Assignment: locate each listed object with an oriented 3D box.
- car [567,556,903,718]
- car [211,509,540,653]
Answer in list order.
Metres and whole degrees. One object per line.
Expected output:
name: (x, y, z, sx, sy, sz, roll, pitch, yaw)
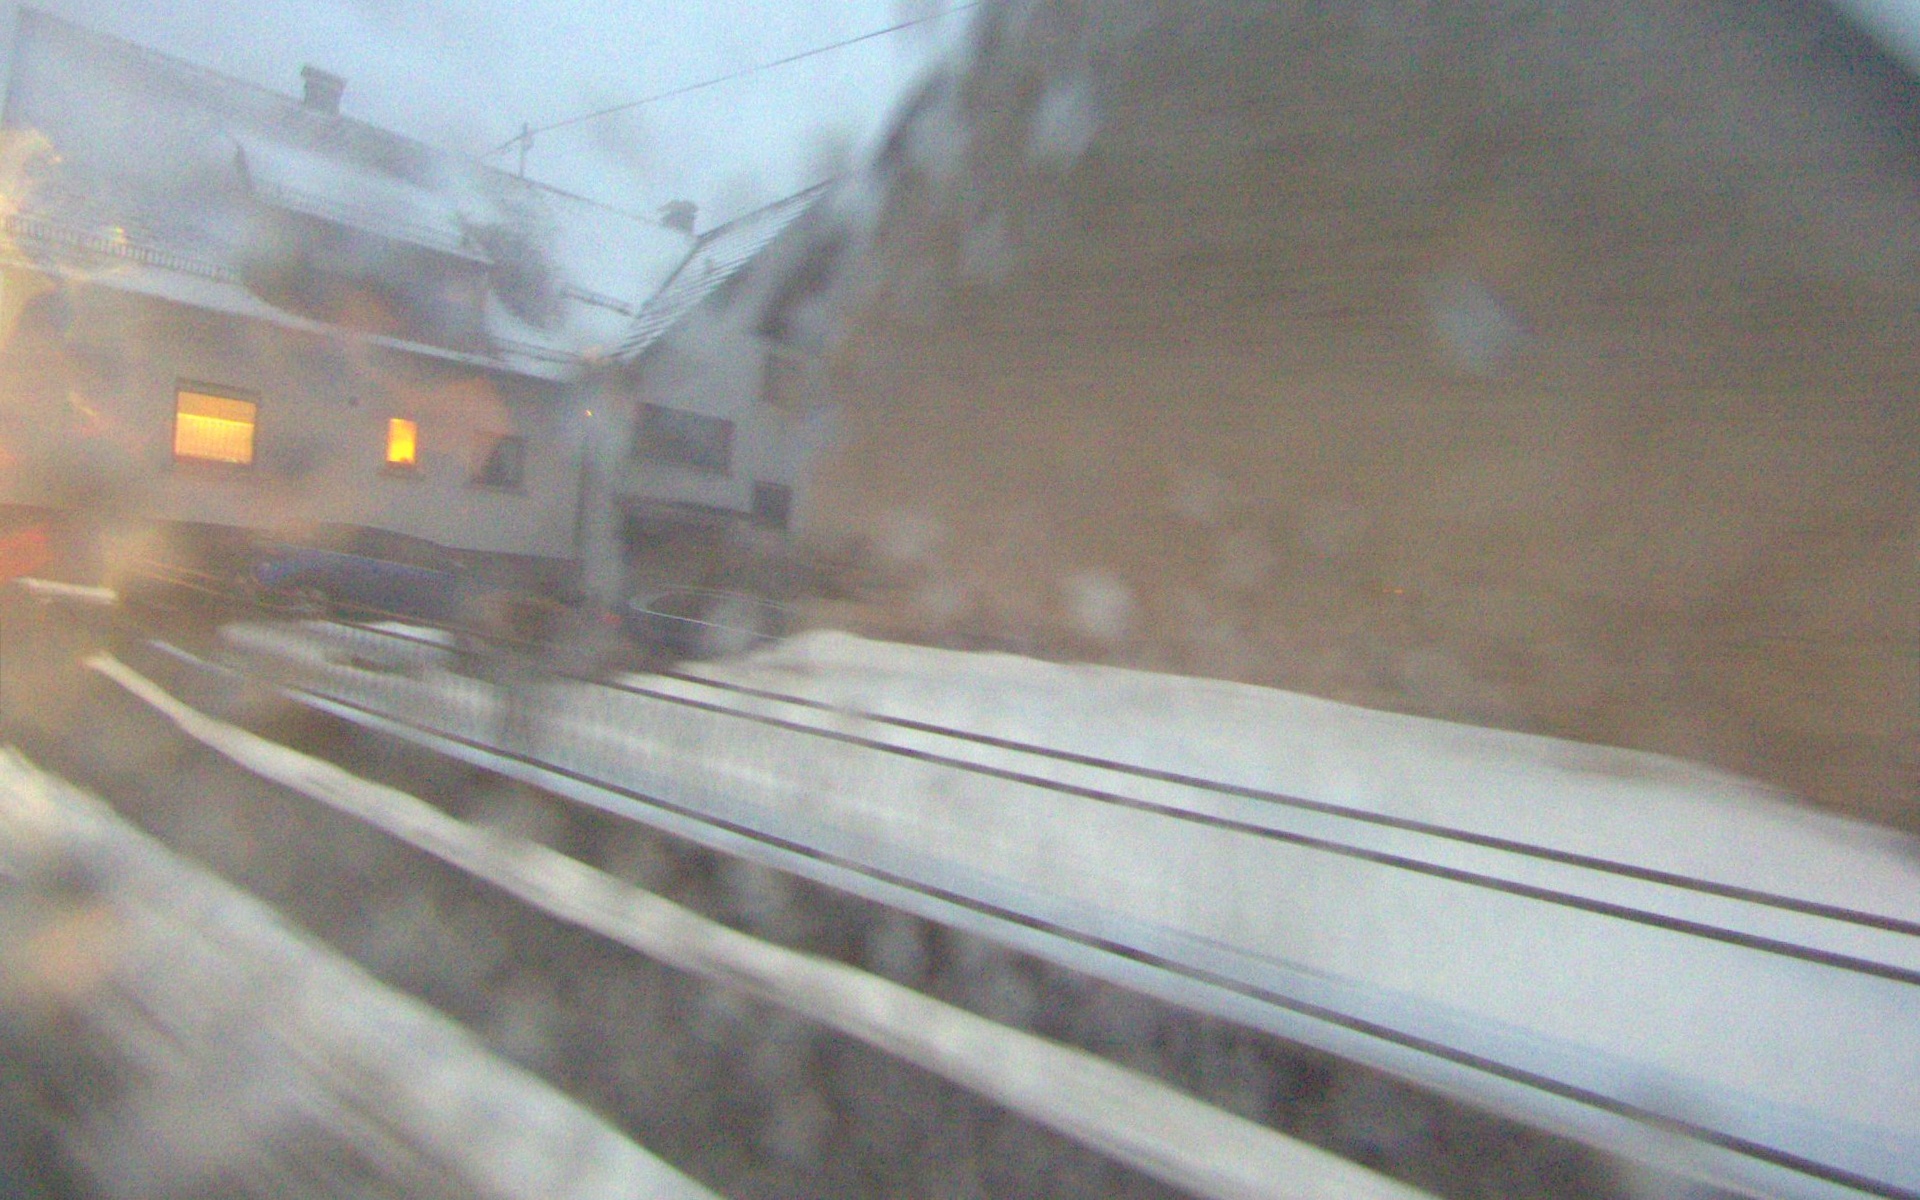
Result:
car: (-2.916, 0.500, 13.421, 3.938, 1.388, 1.755, 10, -2, -12)
car: (-9.046, -0.246, 15.790, 1.886, 1.614, 3.981, 6, -2, 44)
